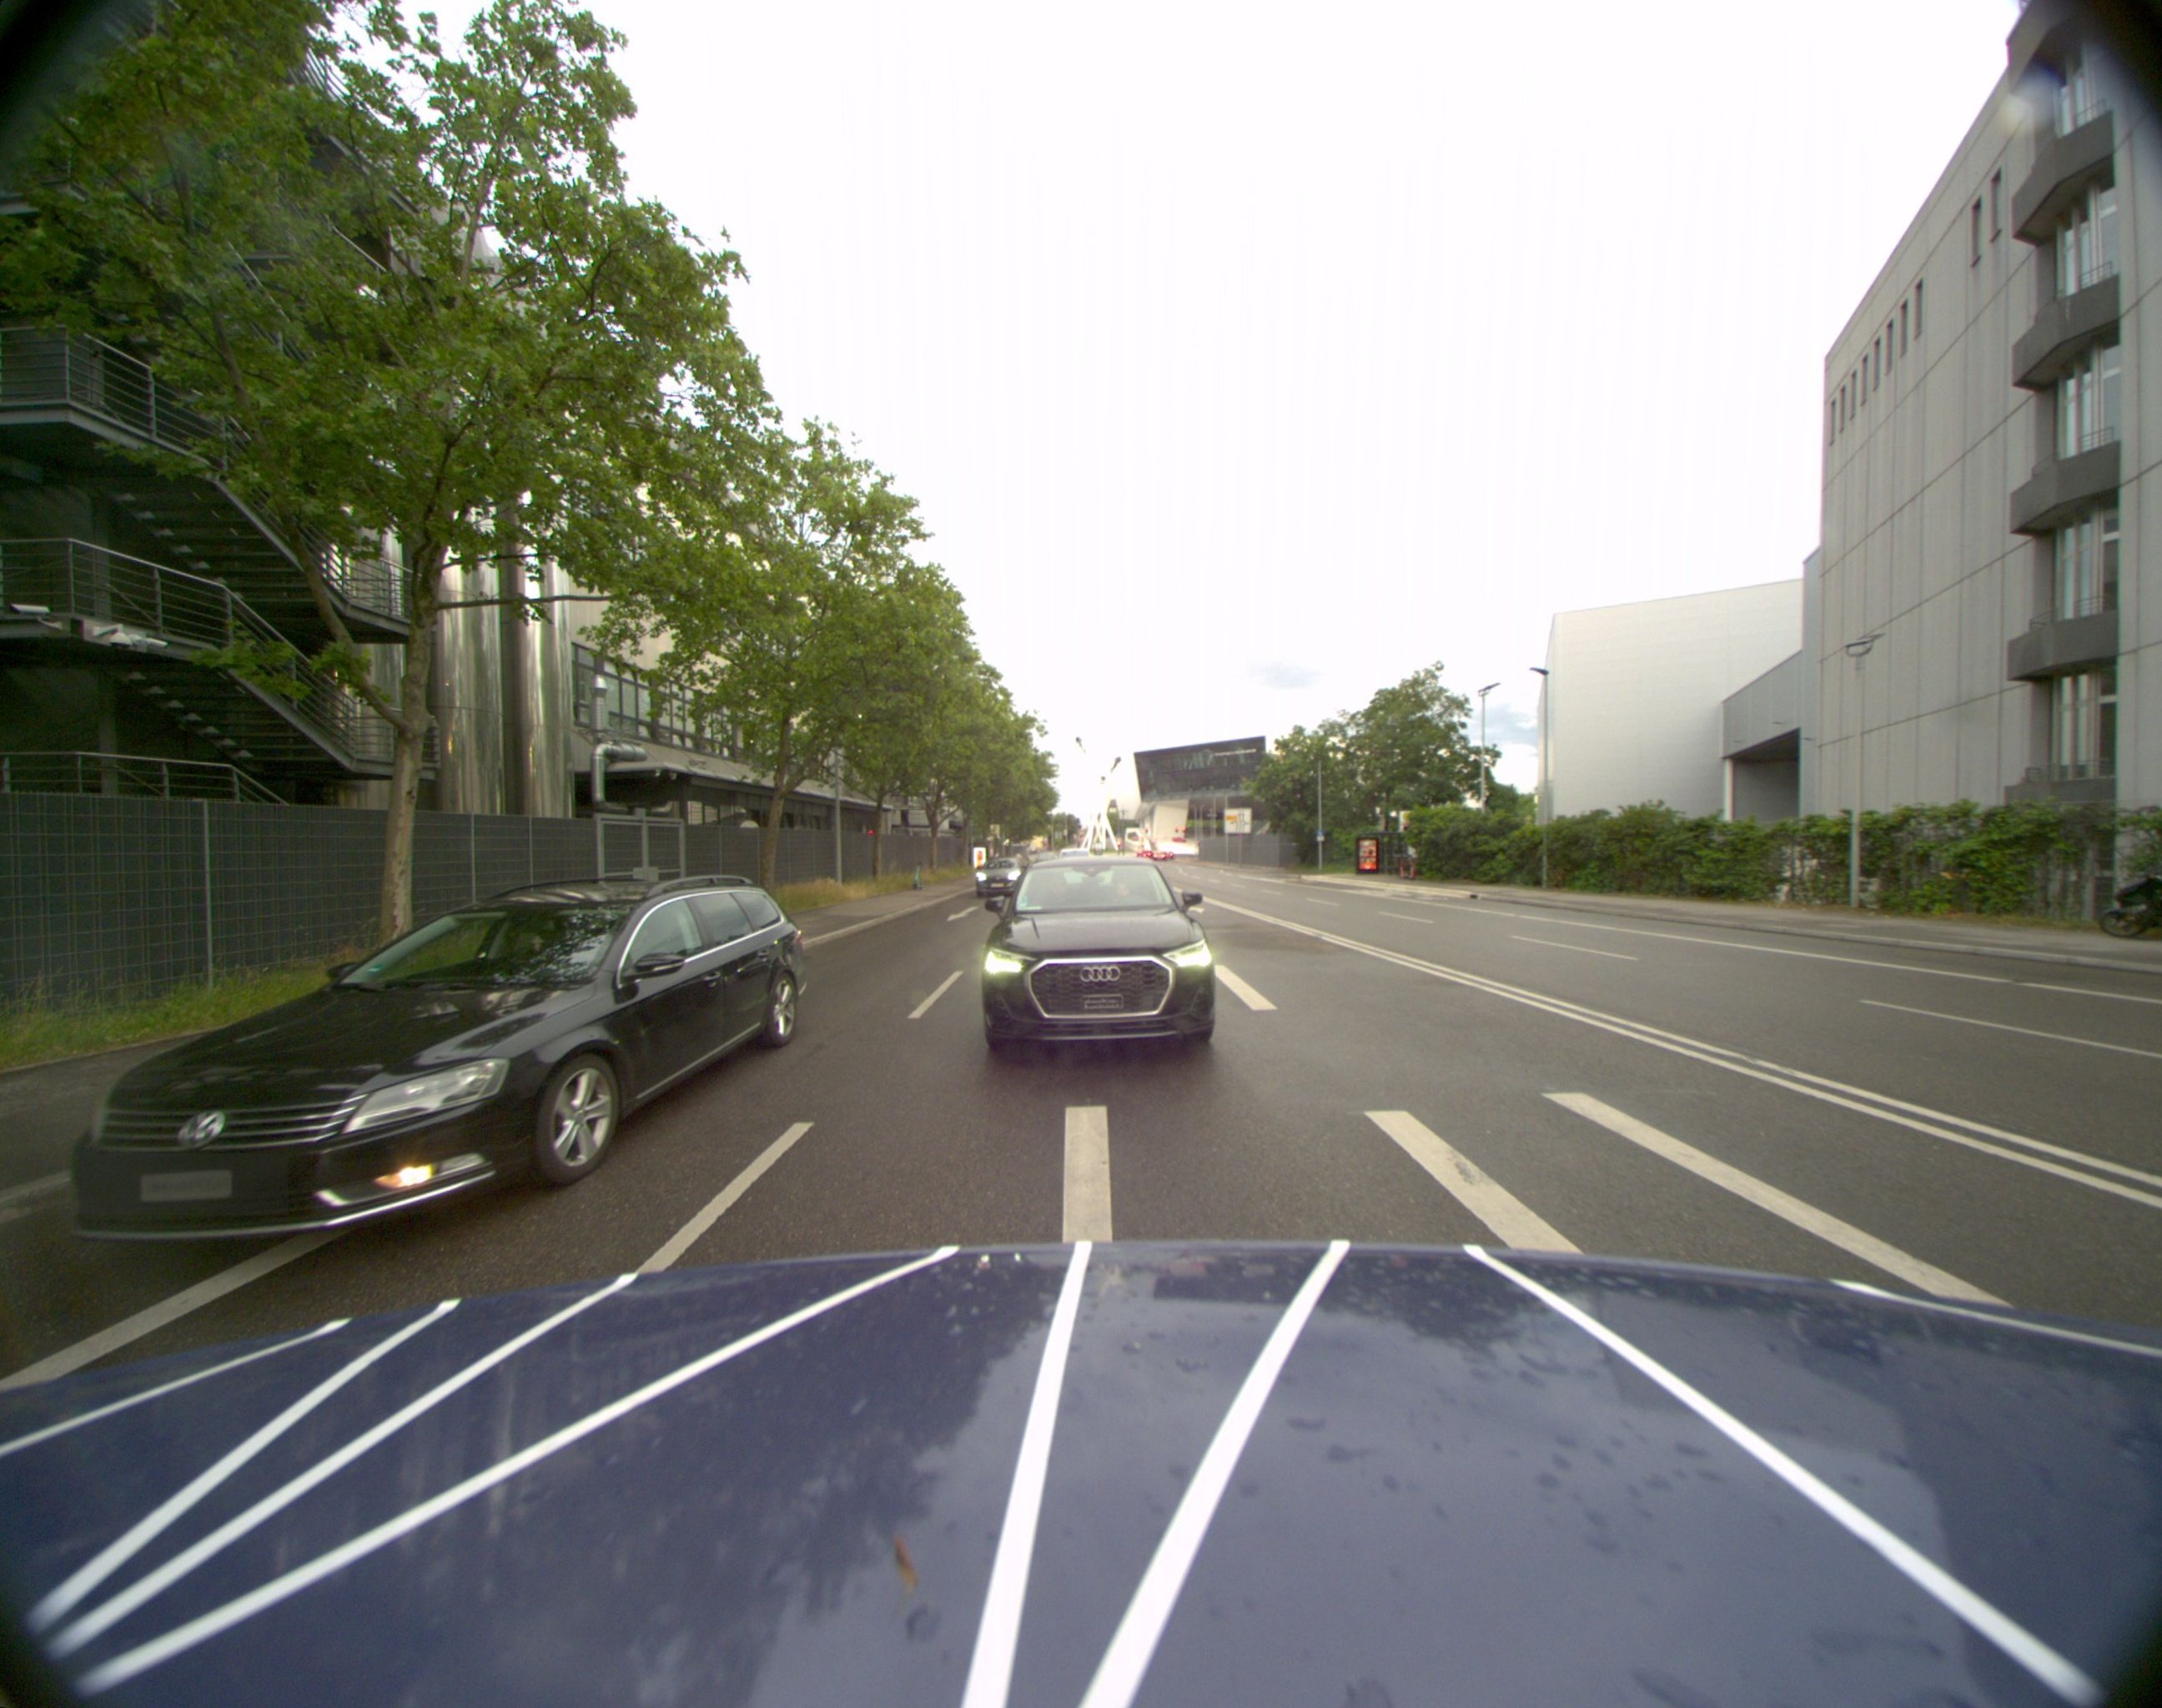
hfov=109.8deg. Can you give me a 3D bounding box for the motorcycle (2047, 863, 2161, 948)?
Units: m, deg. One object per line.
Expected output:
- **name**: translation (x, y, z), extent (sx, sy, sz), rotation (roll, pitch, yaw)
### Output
- **motorcycle**: translation (16.729, 0.792, 11.766), extent (0.786, 1.243, 2.157), rotation (-1, 1, 0)

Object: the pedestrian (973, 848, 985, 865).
- **pedestrian**: translation (-8.587, 0.187, 63.864), extent (0.932, 1.408, 0.698), rotation (-1, 1, -1)

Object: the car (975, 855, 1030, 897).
- **car**: translation (-3.151, 0.847, 31.195), extent (1.951, 1.610, 4.072), rotation (0, 0, -1)

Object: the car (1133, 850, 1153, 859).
- **car**: translation (10.042, 0.082, 122.676), extent (2.255, 1.469, 3.884), rotation (0, 1, 18)

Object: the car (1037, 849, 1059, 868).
- **car**: translation (-3.077, 0.413, 71.772), extent (1.951, 1.767, 4.490), rotation (0, 0, -1)

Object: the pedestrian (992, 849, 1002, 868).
- **pedestrian**: translation (-7.492, 0.372, 67.720), extent (0.778, 1.700, 0.729), rotation (-1, 1, -1)

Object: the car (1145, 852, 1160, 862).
- **car**: translation (12.107, 0.489, 128.862), extent (1.878, 1.641, 3.856), rotation (0, 1, 16)

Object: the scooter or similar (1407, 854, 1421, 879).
- **scooter or similar**: translation (16.262, 0.590, 37.137), extent (0.379, 1.174, 1.379), rotation (0, 1, 14)

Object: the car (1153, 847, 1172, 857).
- **car**: translation (12.959, -0.333, 120.796), extent (2.267, 1.469, 4.052), rotation (0, 1, 18)

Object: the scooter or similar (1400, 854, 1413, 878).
- **scooter or similar**: translation (16.474, 0.577, 38.477), extent (0.389, 1.173, 1.251), rotation (0, 1, 14)

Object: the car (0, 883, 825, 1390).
- **car**: translation (-3.364, 1.039, 4.913), extent (1.842, 1.444, 4.785), rotation (-2, 0, -1)

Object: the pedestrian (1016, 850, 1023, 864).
- **pedestrian**: translation (-7.054, 0.332, 87.269), extent (0.723, 1.610, 0.833), rotation (1, 2, -1)

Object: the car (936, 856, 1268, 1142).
- **car**: translation (0.073, 0.878, 7.208), extent (1.951, 1.609, 5.275), rotation (-2, 0, -1)

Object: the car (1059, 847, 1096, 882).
- **car**: translation (-0.245, 0.551, 42.417), extent (1.951, 1.879, 4.490), rotation (0, 0, -1)

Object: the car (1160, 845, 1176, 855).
- **car**: translation (14.580, -0.689, 127.638), extent (1.862, 1.641, 3.792), rotation (0, 1, 19)

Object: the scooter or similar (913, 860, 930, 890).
- **scooter or similar**: translation (-6.917, 0.888, 33.007), extent (0.329, 1.262, 1.109), rotation (-1, 1, 9)
